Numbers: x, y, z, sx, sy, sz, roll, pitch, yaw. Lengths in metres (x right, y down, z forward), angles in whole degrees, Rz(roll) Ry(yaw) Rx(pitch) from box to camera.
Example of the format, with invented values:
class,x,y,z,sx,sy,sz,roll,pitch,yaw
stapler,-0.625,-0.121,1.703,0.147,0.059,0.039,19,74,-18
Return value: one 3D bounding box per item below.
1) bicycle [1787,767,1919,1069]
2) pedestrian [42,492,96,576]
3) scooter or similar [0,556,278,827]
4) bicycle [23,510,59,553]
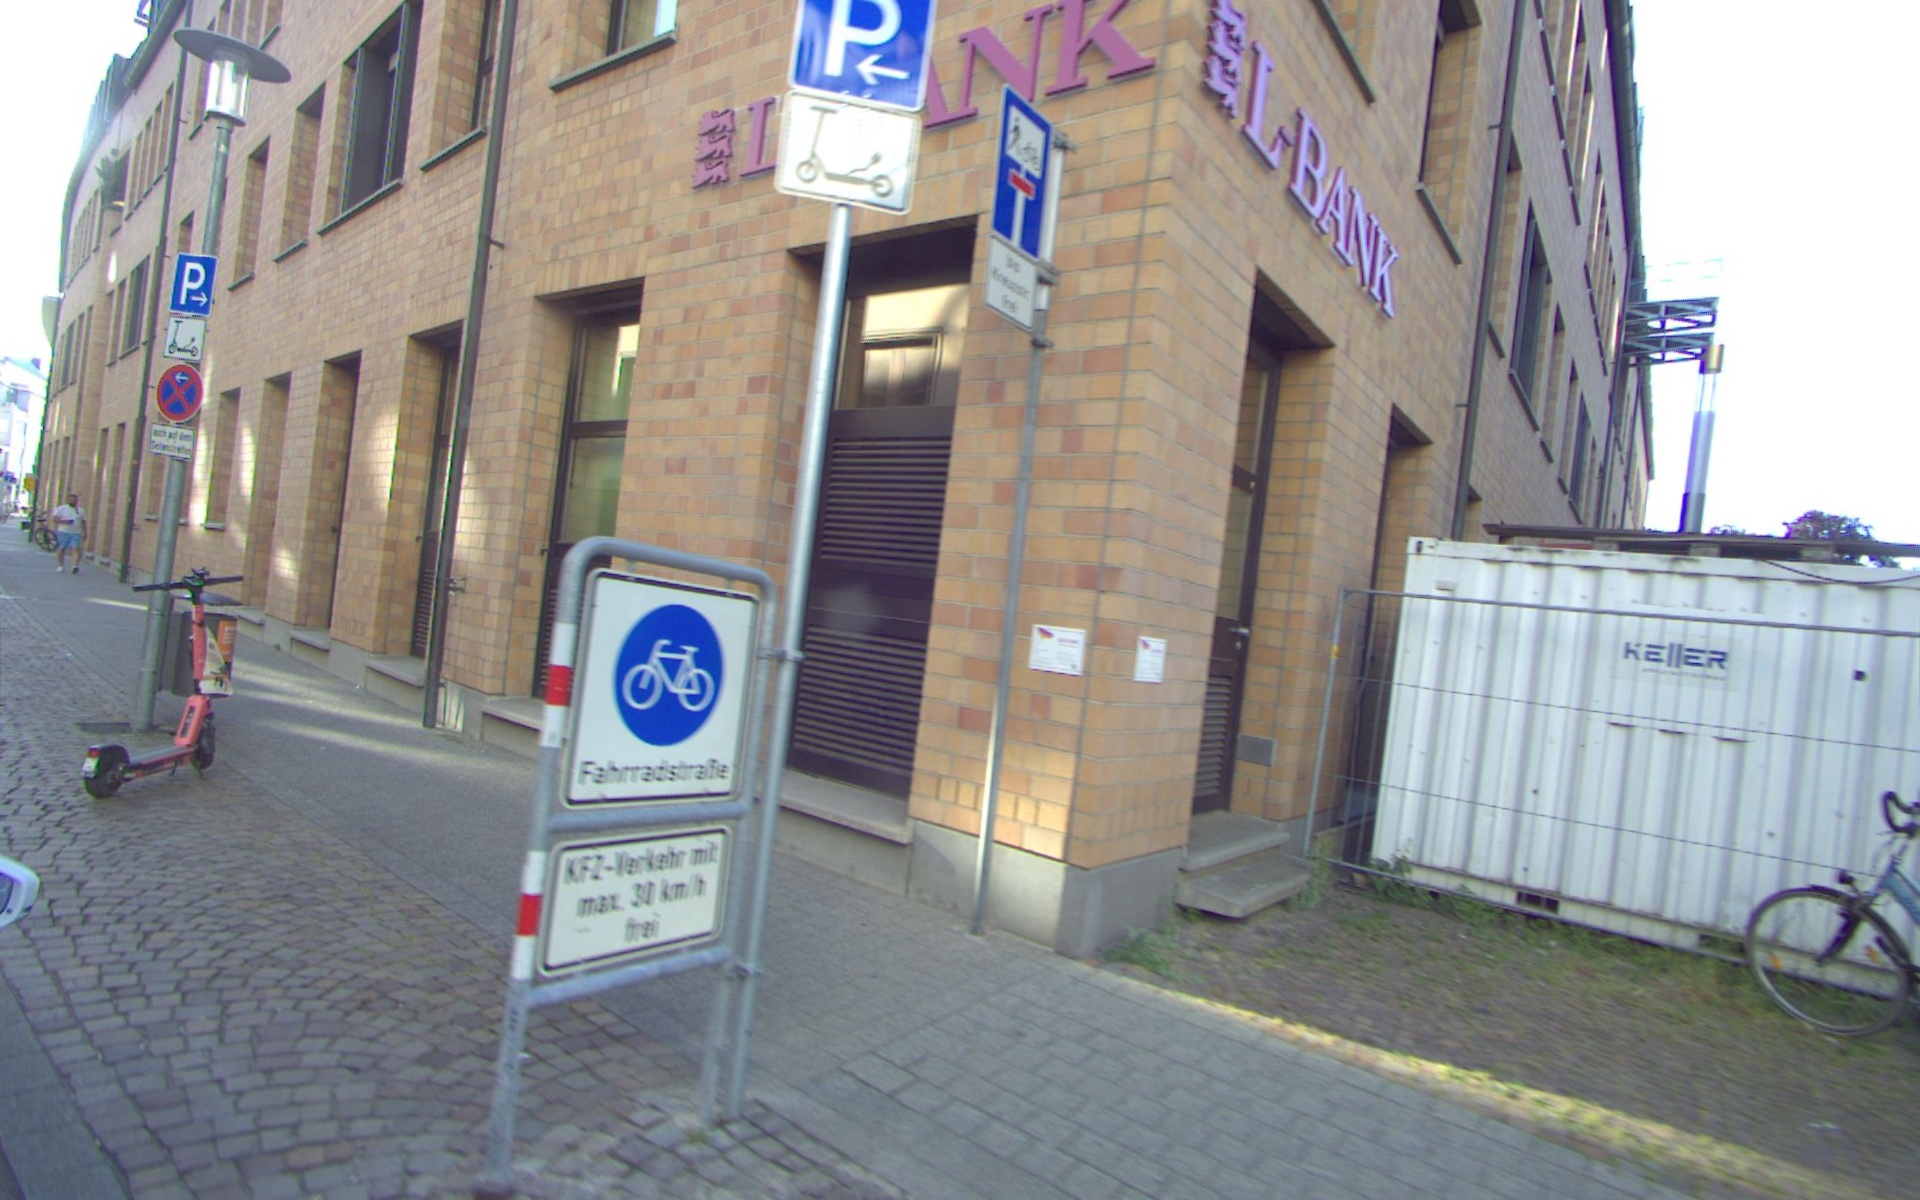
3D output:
class,x,y,z,sx,sy,sz,roll,pitch,yaw
bicycle,4.656,1.495,4.327,0.317,1.265,1.567,6,0,-36
pedestrian,-19.444,-1.445,21.956,0.810,1.739,0.758,7,3,43
scooter or similar,-4.485,0.445,5.548,0.529,1.250,1.416,7,0,-9
bicycle,-26.691,-1.997,29.218,1.954,1.118,0.548,6,4,41
